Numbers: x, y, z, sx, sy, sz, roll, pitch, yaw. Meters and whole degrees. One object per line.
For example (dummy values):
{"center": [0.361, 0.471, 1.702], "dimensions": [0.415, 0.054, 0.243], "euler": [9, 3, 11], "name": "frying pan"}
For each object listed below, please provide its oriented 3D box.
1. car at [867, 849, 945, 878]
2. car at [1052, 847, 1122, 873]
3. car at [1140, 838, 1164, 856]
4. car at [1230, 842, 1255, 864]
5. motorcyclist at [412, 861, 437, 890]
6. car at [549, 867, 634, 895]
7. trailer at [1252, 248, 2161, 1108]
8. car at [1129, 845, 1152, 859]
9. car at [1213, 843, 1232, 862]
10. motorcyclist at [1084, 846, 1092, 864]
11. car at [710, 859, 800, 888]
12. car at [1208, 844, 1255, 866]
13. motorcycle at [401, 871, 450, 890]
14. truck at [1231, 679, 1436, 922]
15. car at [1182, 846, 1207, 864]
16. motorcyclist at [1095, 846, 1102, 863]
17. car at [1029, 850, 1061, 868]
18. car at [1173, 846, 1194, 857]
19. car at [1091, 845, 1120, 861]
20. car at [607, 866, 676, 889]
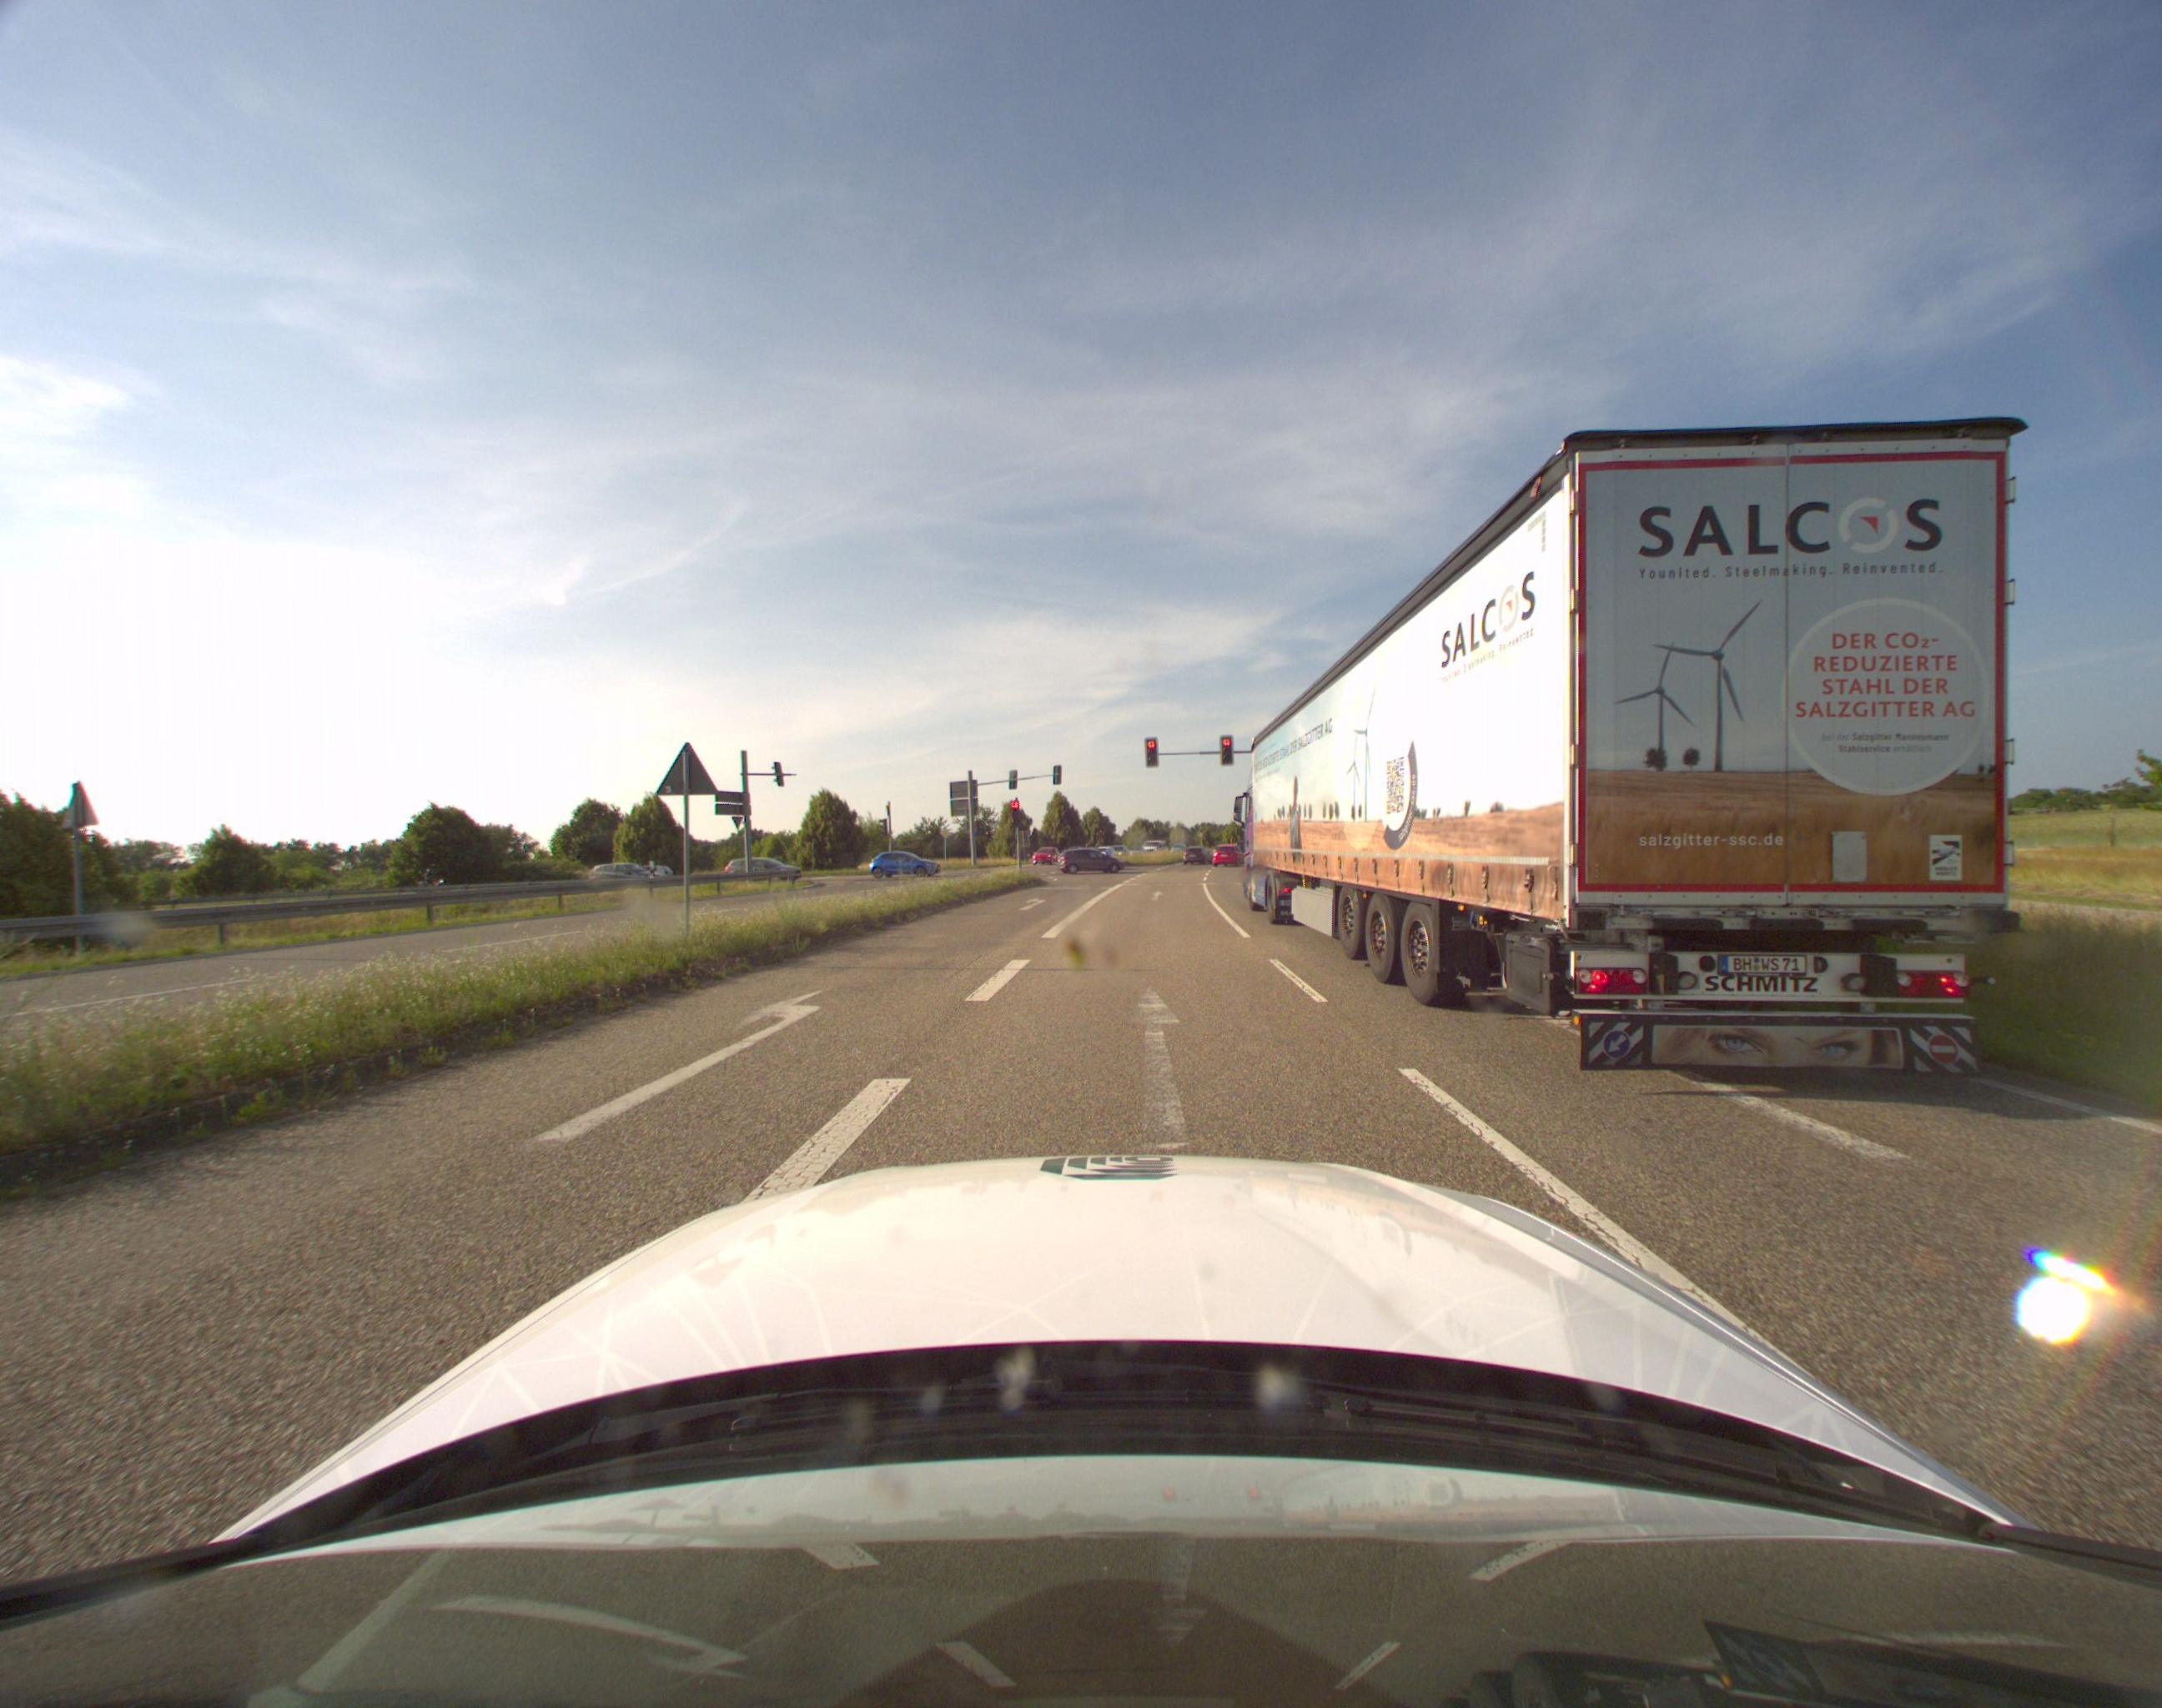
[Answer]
{"center": [-9.968, 0.533, 46.595], "dimensions": [3.948, 1.492, 1.783], "euler": [-1, 0, 9], "name": "car"}
{"center": [0.312, 0.359, 47.923], "dimensions": [3.788, 1.416, 1.912], "euler": [-1, -1, -14], "name": "car"}
{"center": [8.420, -0.863, 96.354], "dimensions": [1.910, 2.078, 4.262], "euler": [-2, 0, 16], "name": "car"}
{"center": [13.856, -0.058, 69.960], "dimensions": [1.898, 1.800, 4.288], "euler": [-1, -1, 9], "name": "car"}
{"center": [-40.640, 1.320, 50.430], "dimensions": [0.828, 1.758, 0.905], "euler": [-1, 0, -5], "name": "motorcyclist"}
{"center": [-29.383, 1.626, 48.961], "dimensions": [4.159, 1.605, 1.794], "euler": [-1, -1, 7], "name": "car"}
{"center": [4.853, -0.968, 11.090], "dimensions": [3.266, 4.681, 13.164], "euler": [-1, 0, 5], "name": "trailer"}
{"center": [6.367, -0.203, 87.058], "dimensions": [1.773, 1.385, 4.066], "euler": [-2, 0, 13], "name": "car"}
{"center": [14.949, -0.088, 85.751], "dimensions": [1.897, 1.916, 4.290], "euler": [-1, -1, 11], "name": "car"}
{"center": [0.711, 0.116, 82.610], "dimensions": [0.659, 1.747, 0.606], "euler": [-2, 0, 6], "name": "motorcyclist"}
{"center": [-18.929, 1.120, 47.351], "dimensions": [4.489, 1.565, 1.820], "euler": [-1, 0, 9], "name": "car"}
{"center": [10.988, 0.101, 59.347], "dimensions": [1.877, 1.565, 4.305], "euler": [-1, -1, 32], "name": "car"}
{"center": [-40.579, 1.645, 50.449], "dimensions": [2.160, 1.124, 0.939], "euler": [-1, 0, -5], "name": "motorcycle"}
{"center": [5.426, -1.034, 18.704], "dimensions": [3.285, 4.657, 5.740], "euler": [-1, 0, 5], "name": "truck"}
{"center": [9.243, 0.089, 66.125], "dimensions": [1.824, 1.377, 4.291], "euler": [-1, -1, 11], "name": "car"}
{"center": [1.898, 0.048, 88.942], "dimensions": [0.659, 1.817, 0.606], "euler": [-2, 0, 6], "name": "motorcyclist"}
{"center": [-3.037, 0.410, 69.795], "dimensions": [1.708, 1.488, 3.819], "euler": [-2, 0, 14], "name": "car"}
{"center": [13.782, -0.320, 109.224], "dimensions": [1.770, 1.385, 4.073], "euler": [-2, 0, 22], "name": "car"}
{"center": [2.275, -0.105, 75.392], "dimensions": [1.773, 1.433, 4.325], "euler": [-2, 0, 13], "name": "car"}
{"center": [-32.628, 1.758, 60.492], "dimensions": [3.975, 1.540, 1.999], "euler": [-2, 0, -1], "name": "car"}
